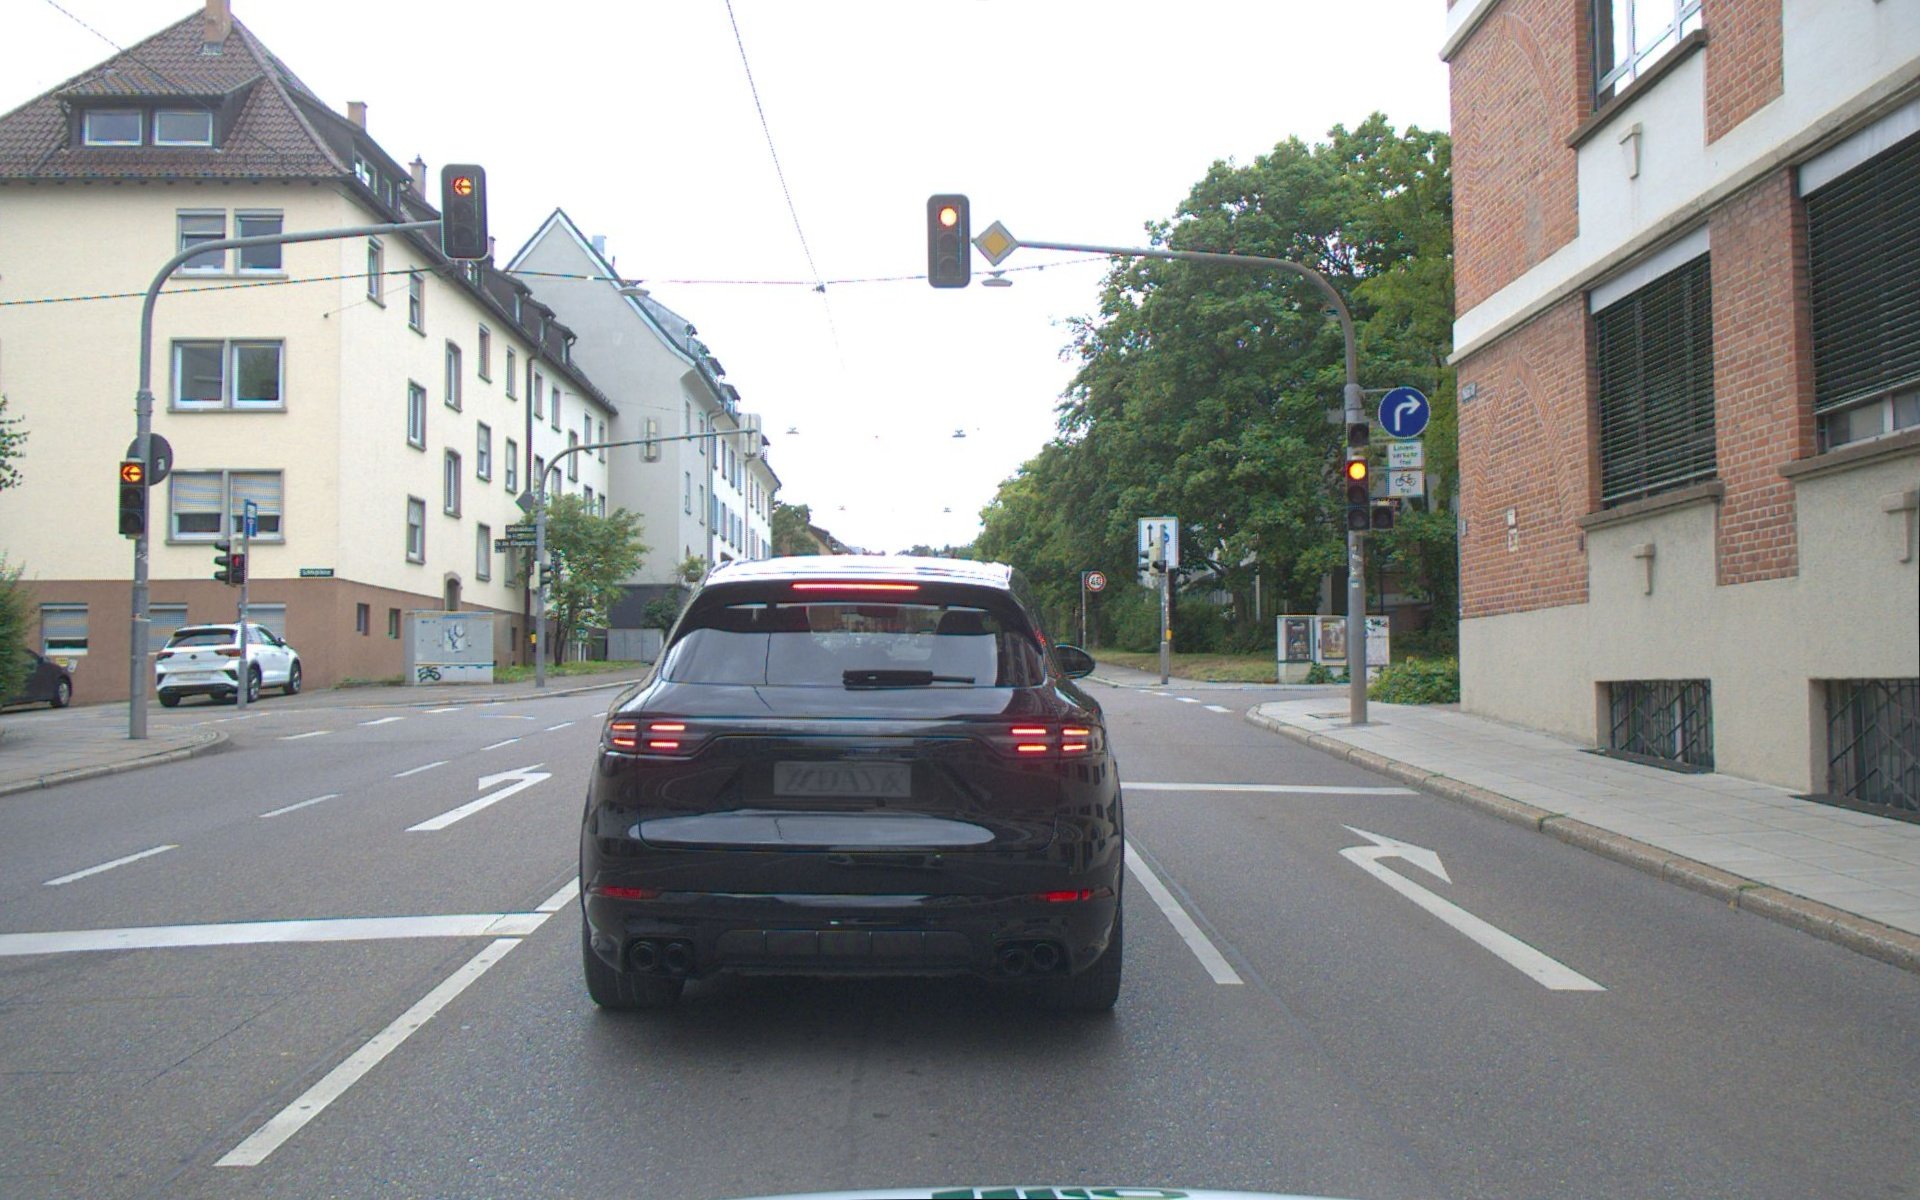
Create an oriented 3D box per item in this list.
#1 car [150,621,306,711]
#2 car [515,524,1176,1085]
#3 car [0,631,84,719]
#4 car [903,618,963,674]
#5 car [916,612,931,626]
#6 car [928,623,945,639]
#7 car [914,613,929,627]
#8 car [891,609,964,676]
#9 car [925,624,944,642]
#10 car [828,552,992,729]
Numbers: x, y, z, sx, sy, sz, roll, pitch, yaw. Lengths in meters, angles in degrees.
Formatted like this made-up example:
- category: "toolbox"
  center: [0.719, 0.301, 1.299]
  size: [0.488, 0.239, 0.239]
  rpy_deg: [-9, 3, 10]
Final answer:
- category: "car"
  center: [-14.723, 1.282, 33.482]
  size: [1.658, 1.582, 3.762]
  rpy_deg: [-3, 0, -5]
- category: "car"
  center: [-0.368, 0.626, 7.230]
  size: [2.007, 1.695, 4.266]
  rpy_deg: [1, 0, -1]
- category: "car"
  center: [-19.629, 1.530, 33.753]
  size: [1.658, 1.636, 3.762]
  rpy_deg: [-3, 0, -5]
- category: "car"
  center: [-0.844, 1.432, 52.500]
  size: [1.790, 1.633, 3.858]
  rpy_deg: [1, 0, -1]
- category: "car"
  center: [-4.640, 2.411, 210.158]
  size: [1.790, 1.633, 4.134]
  rpy_deg: [1, 0, -1]
- category: "car"
  center: [-2.594, 3.439, 182.387]
  size: [1.790, 1.633, 4.134]
  rpy_deg: [1, 0, -1]
- category: "car"
  center: [-4.712, 2.462, 202.831]
  size: [1.790, 1.633, 4.134]
  rpy_deg: [1, 0, -1]
- category: "car"
  center: [-0.838, 1.078, 43.788]
  size: [1.790, 1.633, 4.134]
  rpy_deg: [1, 0, -1]
- category: "car"
  center: [-2.522, 3.274, 163.215]
  size: [1.790, 1.633, 4.134]
  rpy_deg: [1, 0, -1]
- category: "car"
  center: [-0.619, 0.481, 21.876]
  size: [1.925, 2.078, 4.134]
  rpy_deg: [1, 0, -1]
